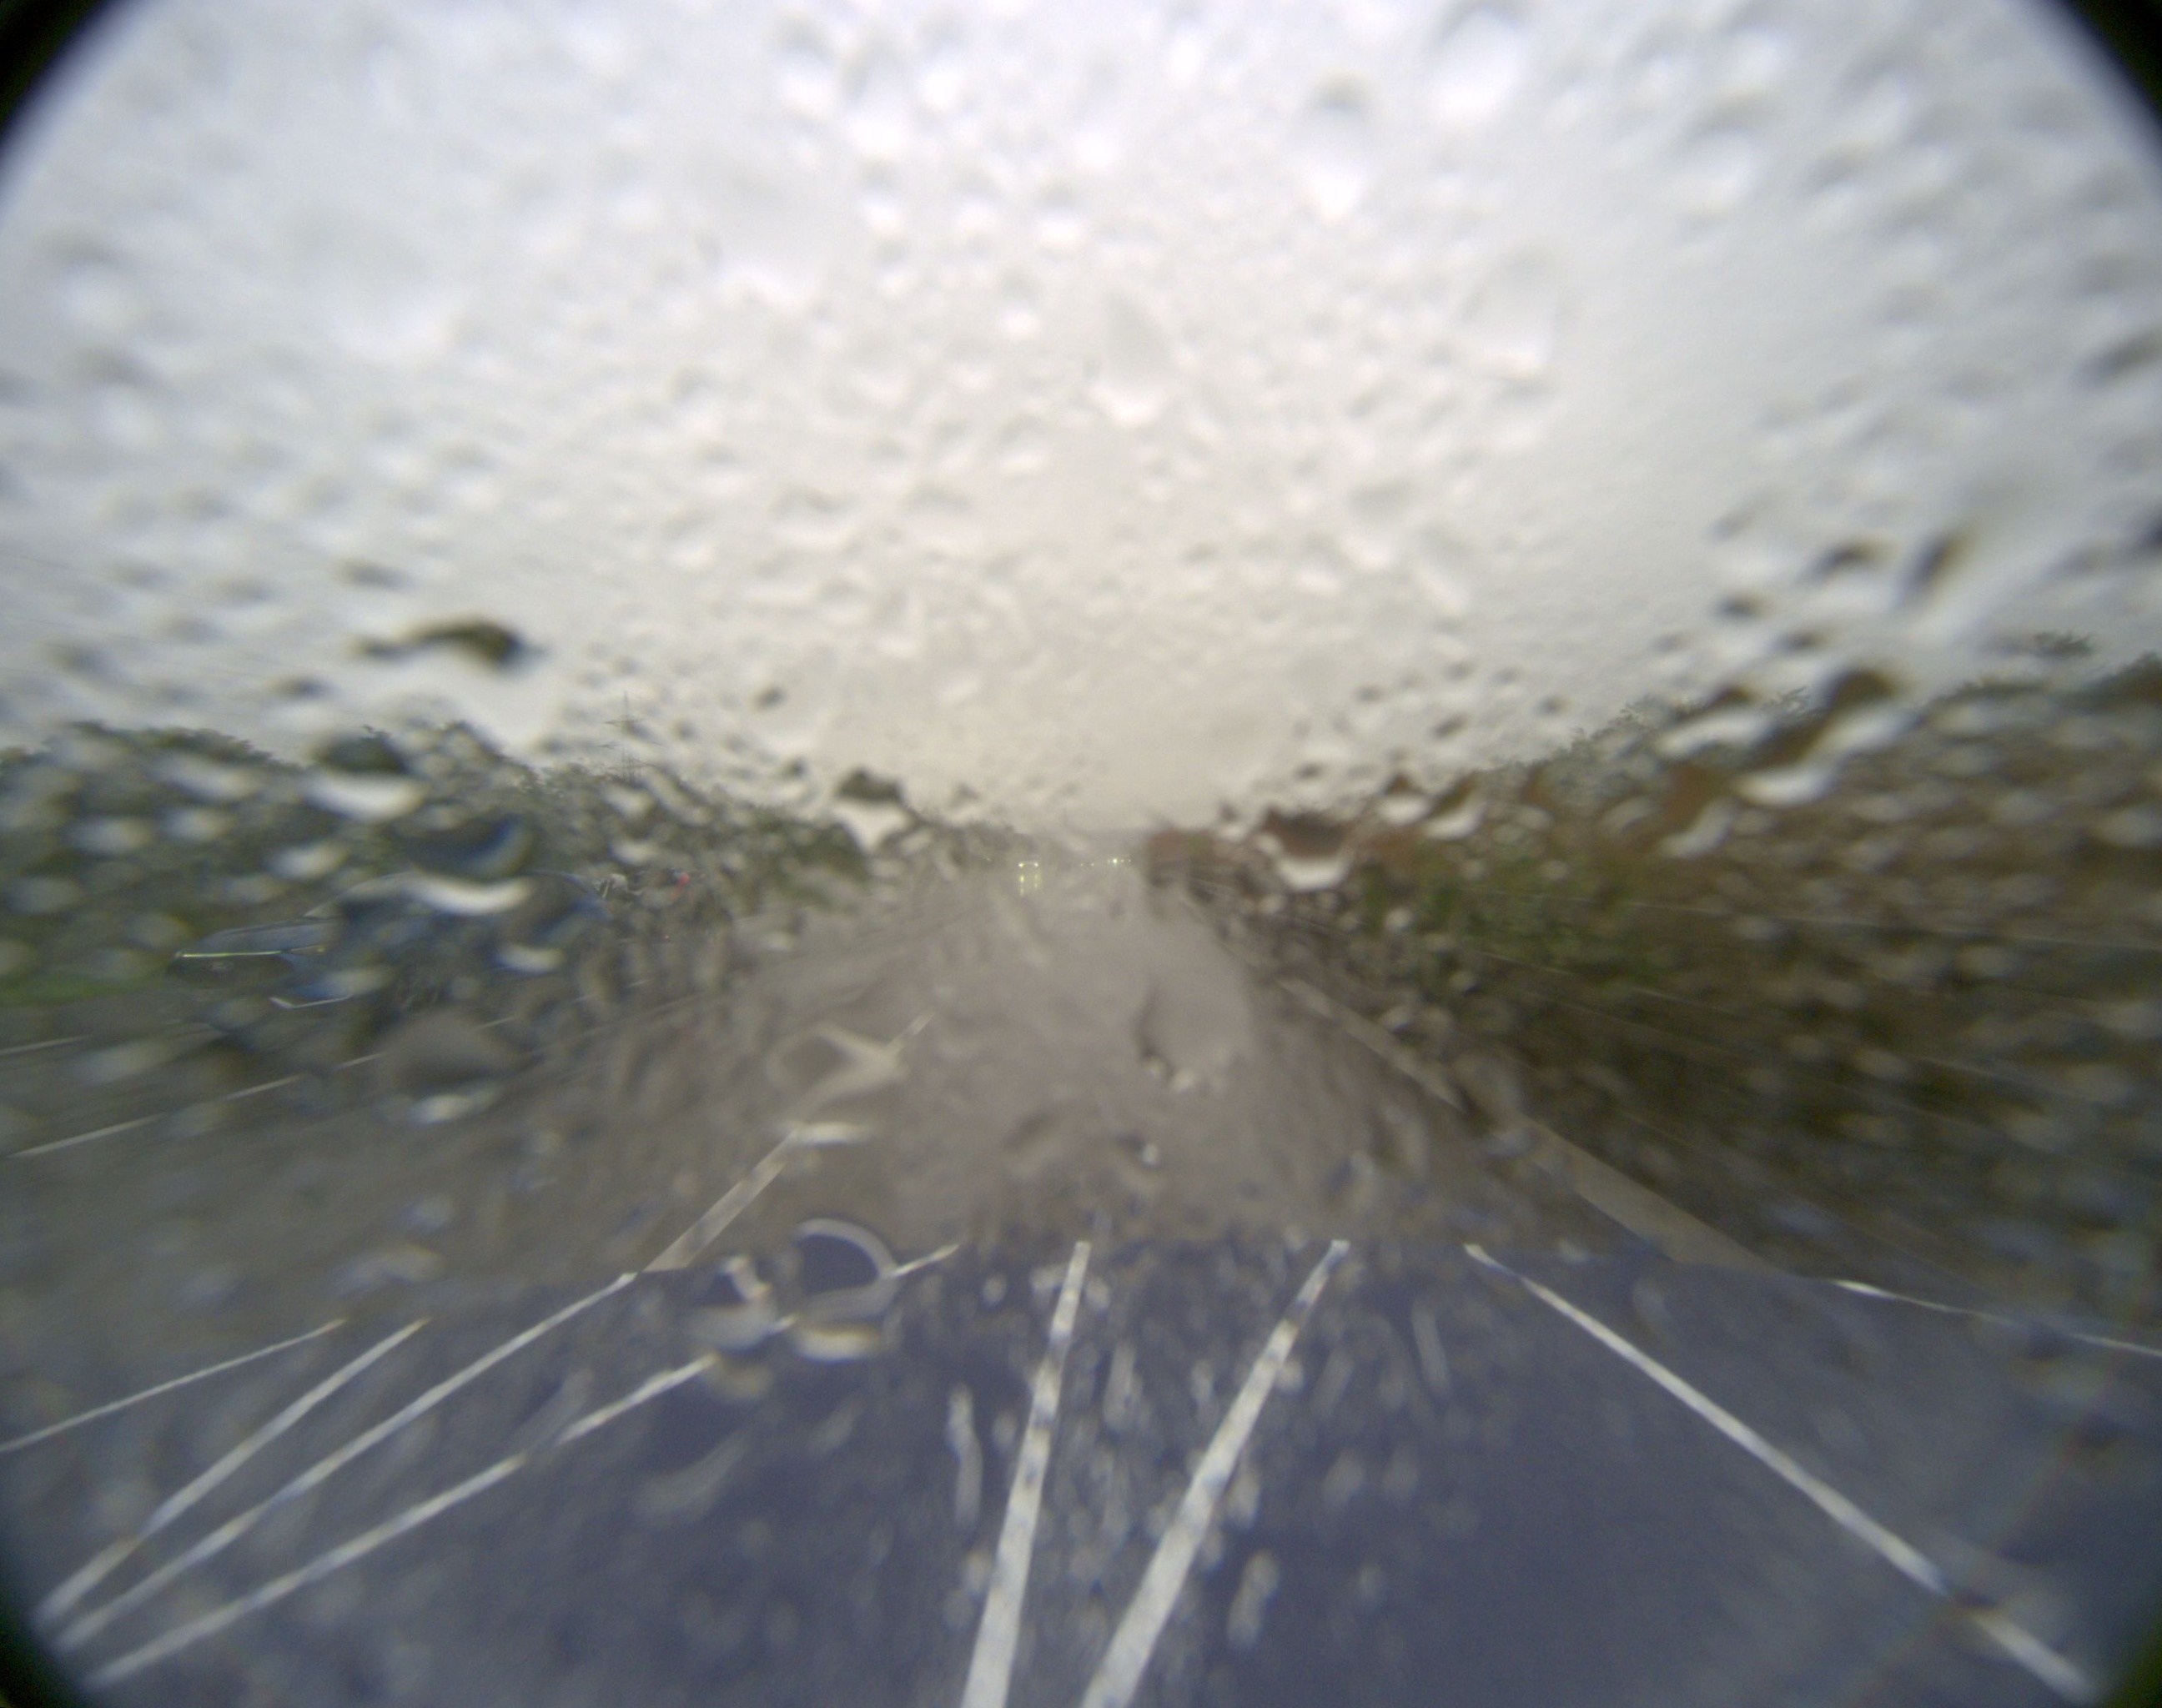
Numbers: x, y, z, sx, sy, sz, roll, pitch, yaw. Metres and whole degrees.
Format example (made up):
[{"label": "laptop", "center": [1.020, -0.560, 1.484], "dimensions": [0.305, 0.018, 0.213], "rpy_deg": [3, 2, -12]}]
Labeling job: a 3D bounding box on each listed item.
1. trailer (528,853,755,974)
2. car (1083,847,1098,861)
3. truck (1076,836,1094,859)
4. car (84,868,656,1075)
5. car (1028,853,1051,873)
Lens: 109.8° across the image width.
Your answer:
[{"label": "trailer", "center": [-7.444, 0.922, 13.278], "dimensions": [1.983, 1.774, 3.189], "rpy_deg": [-2, 1, 2]}, {"label": "car", "center": [1.399, 0.034, 113.192], "dimensions": [1.998, 2.002, 4.001], "rpy_deg": [-2, 0, 4]}, {"label": "truck", "center": [0.875, -1.340, 164.399], "dimensions": [3.135, 4.641, 11.406], "rpy_deg": [-2, 0, 3]}, {"label": "car", "center": [-7.584, 1.070, 9.104], "dimensions": [1.998, 1.610, 4.992], "rpy_deg": [-2, 1, 2]}, {"label": "car", "center": [-4.400, 0.975, 81.067], "dimensions": [1.998, 2.001, 4.001], "rpy_deg": [-3, 0, 2]}]
